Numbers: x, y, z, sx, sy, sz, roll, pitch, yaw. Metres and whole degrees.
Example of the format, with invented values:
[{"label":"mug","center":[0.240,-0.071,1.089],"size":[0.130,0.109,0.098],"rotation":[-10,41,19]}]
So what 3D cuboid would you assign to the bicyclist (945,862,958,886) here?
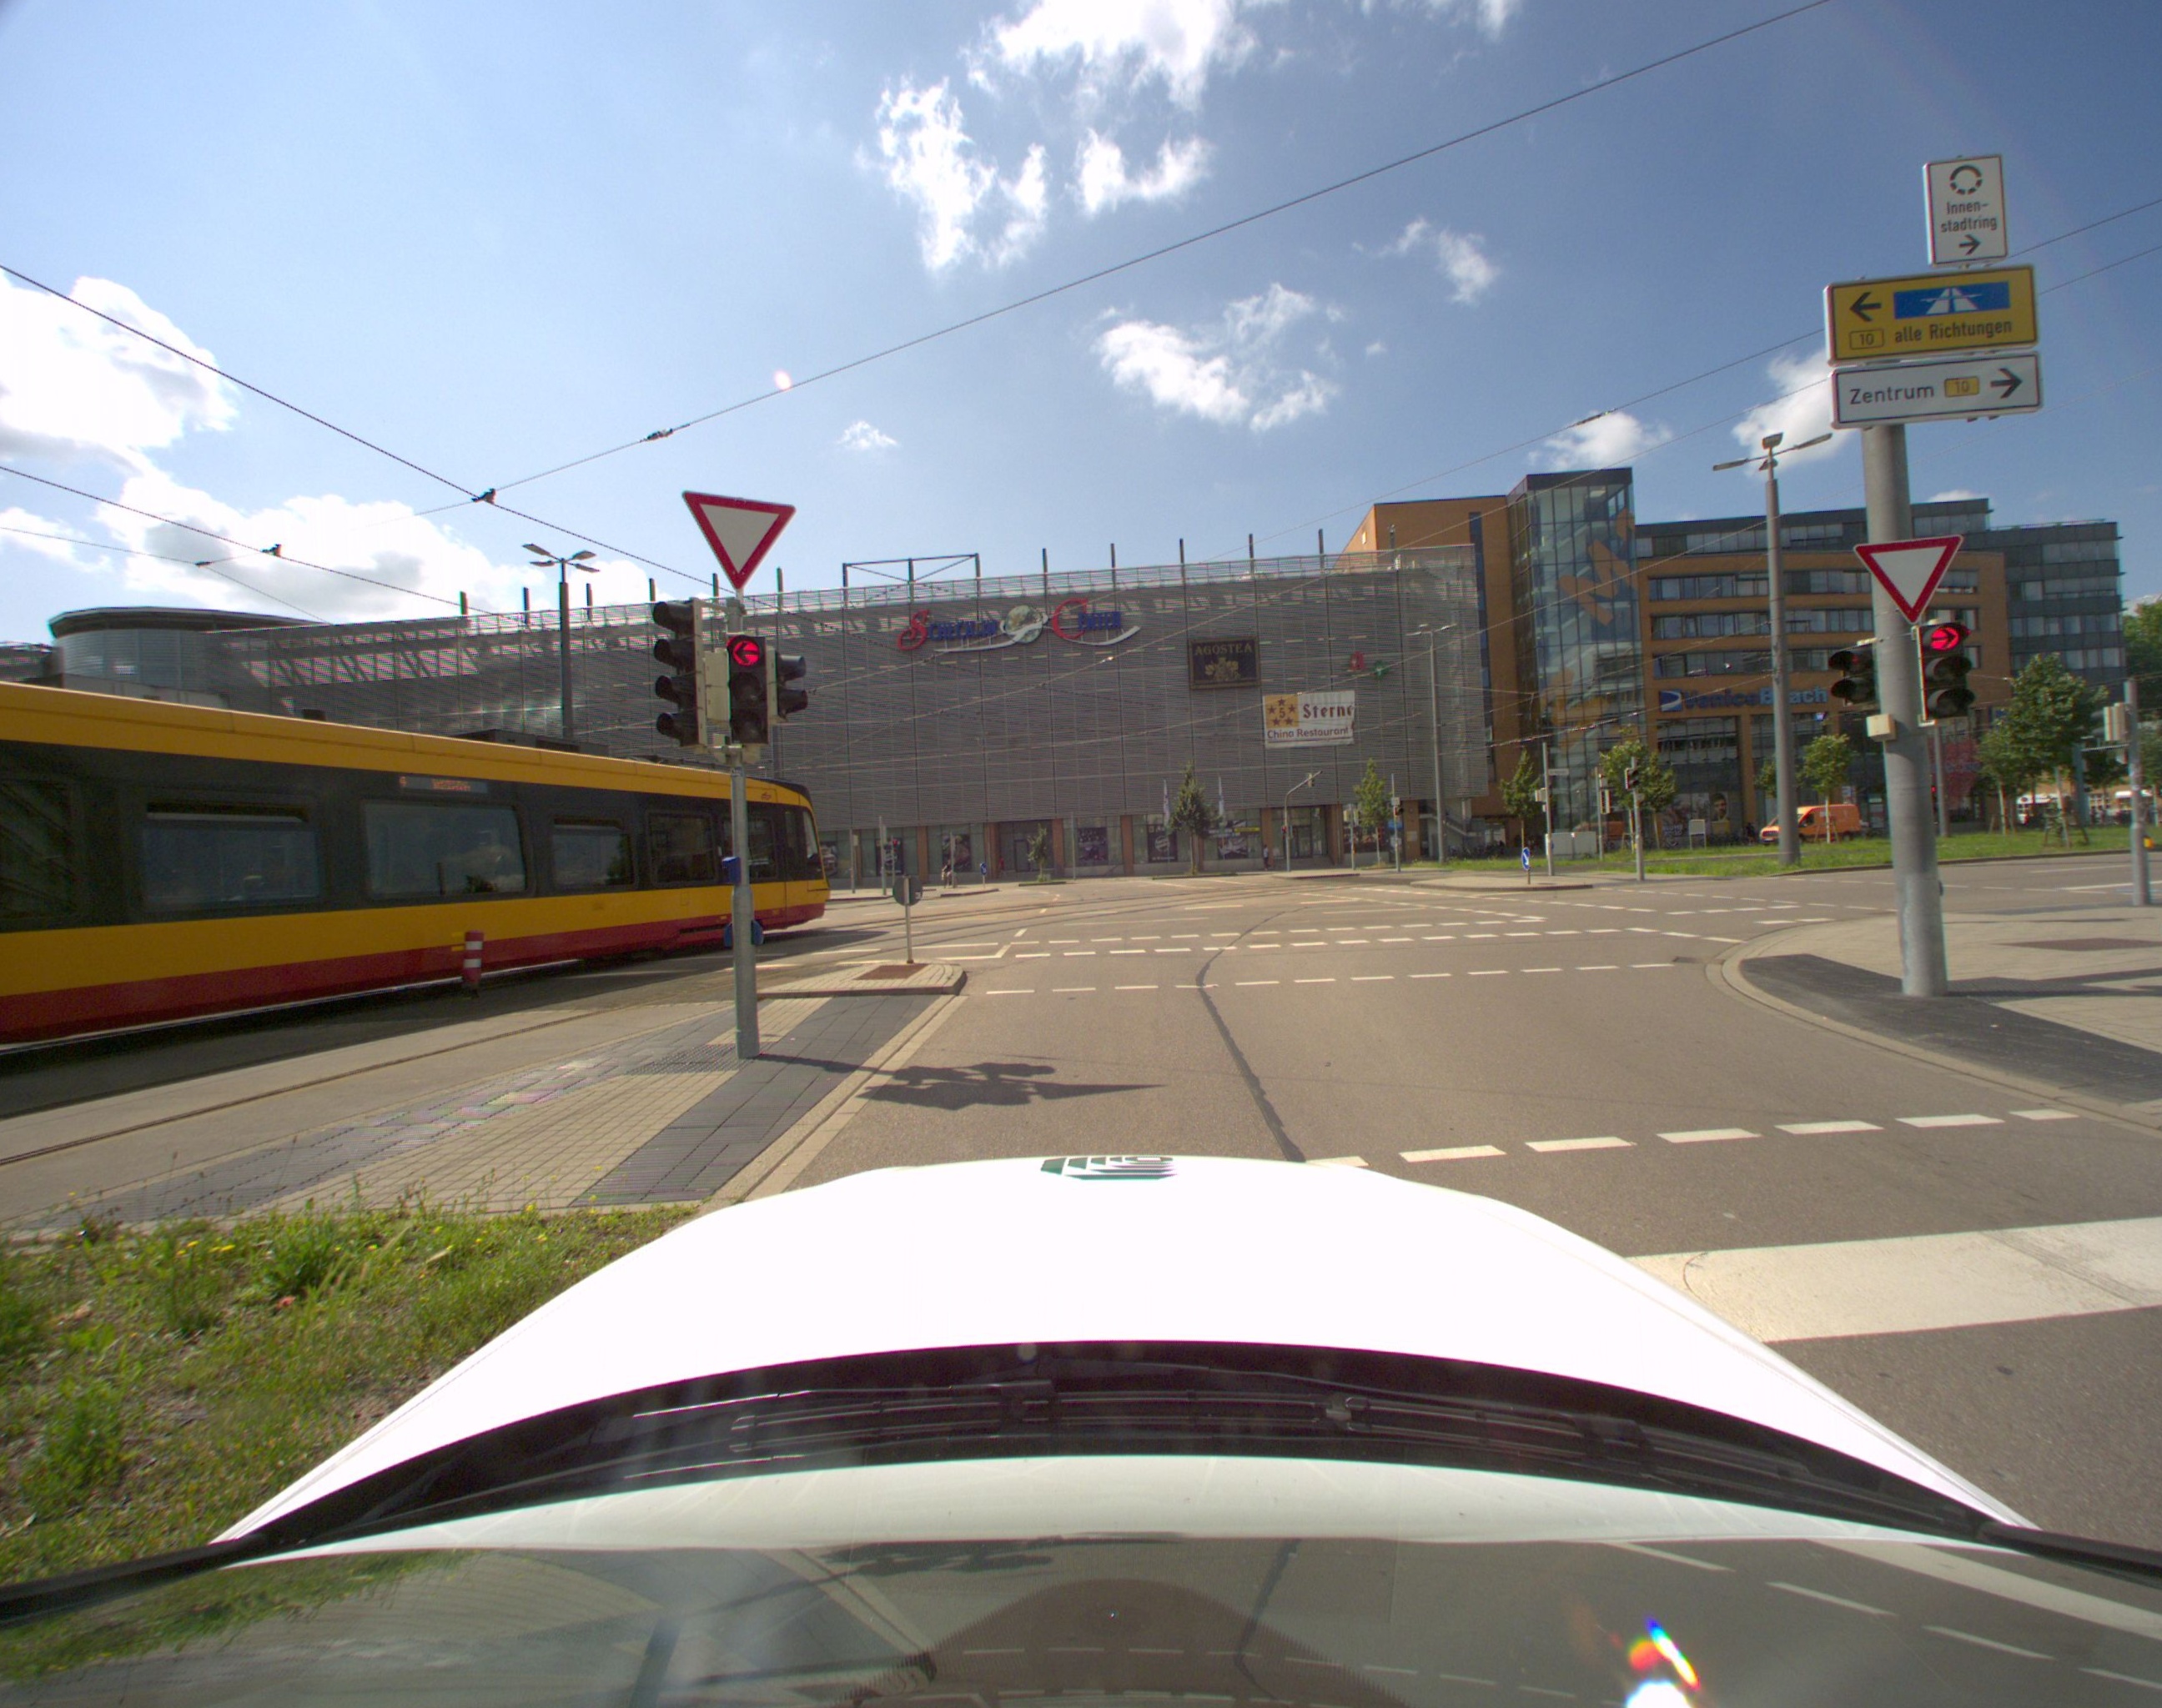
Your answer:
[{"label":"bicyclist","center":[-8.750,1.338,54.960],"size":[0.544,1.623,0.668],"rotation":[-2,0,43]}]

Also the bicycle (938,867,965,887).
[{"label":"bicycle","center":[-8.752,1.536,54.959],"size":[0.577,1.224,1.777],"rotation":[-2,0,43]}]

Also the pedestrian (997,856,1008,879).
[{"label":"pedestrian","center":[-5.853,1.007,60.877],"size":[0.659,1.623,0.517],"rotation":[-2,0,4]}]

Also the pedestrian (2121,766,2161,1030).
[{"label":"pedestrian","center":[7.477,0.254,5.129],"size":[0.810,1.702,0.911],"rotation":[-3,-1,-25]}]

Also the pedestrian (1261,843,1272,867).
[{"label":"pedestrian","center":[13.396,0.067,58.726],"size":[0.615,1.746,0.630],"rotation":[-2,0,3]}]

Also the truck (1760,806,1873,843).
[{"label":"truck","center":[44.661,-1.781,49.490],"size":[5.500,2.085,1.995],"rotation":[-2,0,-7]}]

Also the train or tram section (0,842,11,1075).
[{"label":"train or tram section","center":[-10.620,0.057,1.165],"size":[3.042,3.603,11.004],"rotation":[-4,0,4]}]

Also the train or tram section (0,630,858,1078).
[{"label":"train or tram section","center":[-8.439,-0.002,12.944],"size":[3.031,3.621,12.691],"rotation":[-4,0,16]}]
